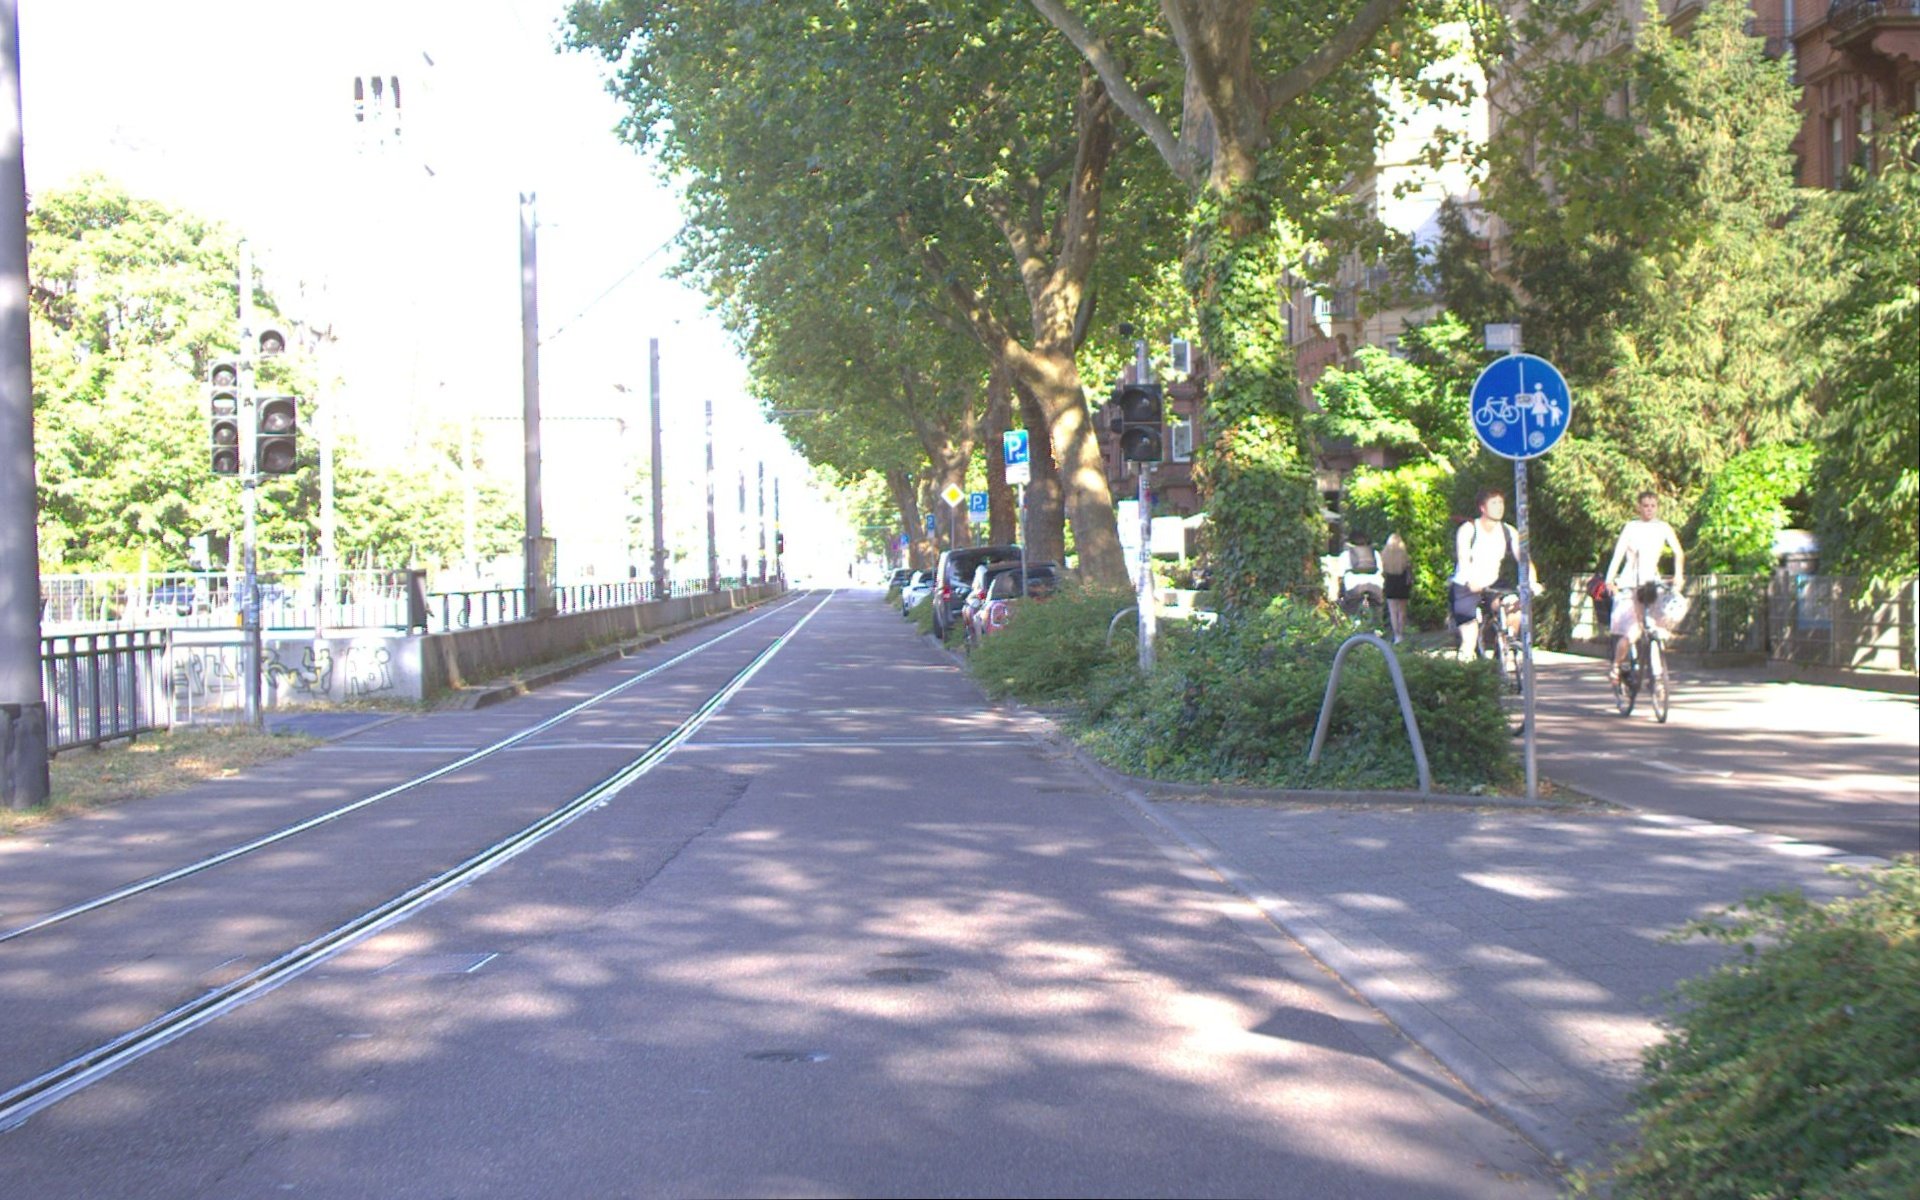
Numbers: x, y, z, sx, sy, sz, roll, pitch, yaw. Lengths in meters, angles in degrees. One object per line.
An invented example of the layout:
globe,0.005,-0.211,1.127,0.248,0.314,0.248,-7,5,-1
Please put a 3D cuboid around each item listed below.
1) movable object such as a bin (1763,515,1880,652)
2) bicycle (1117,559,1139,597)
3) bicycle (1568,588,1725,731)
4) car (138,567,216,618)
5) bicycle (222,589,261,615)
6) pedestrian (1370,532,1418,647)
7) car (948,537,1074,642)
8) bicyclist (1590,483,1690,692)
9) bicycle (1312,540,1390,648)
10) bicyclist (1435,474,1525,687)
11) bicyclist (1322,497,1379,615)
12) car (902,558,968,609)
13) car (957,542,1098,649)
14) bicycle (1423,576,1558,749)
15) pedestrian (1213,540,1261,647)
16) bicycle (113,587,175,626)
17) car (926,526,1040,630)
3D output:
movable object such as a bin,9.587,-0.189,38.297,0.906,1.459,1.084,-3,1,-3
bicycle,5.134,-0.678,105.248,0.475,1.139,1.896,-3,1,-2
bicycle,5.472,0.458,27.512,0.560,1.034,1.933,-3,2,-9
car,-25.472,-0.261,111.939,1.832,1.579,4.001,1,1,-4
bicycle,-26.178,0.066,125.289,1.265,0.902,0.539,1,1,-32
pedestrian,6.283,-0.155,49.753,0.530,1.622,0.618,-3,2,-1
car,0.768,-0.159,54.987,1.714,1.543,4.501,-3,0,-2
bicyclist,5.413,-0.106,27.401,0.542,1.620,0.644,-2,1,-8
bicycle,4.725,-0.095,41.658,0.560,1.174,2.227,-1,3,-3
bicyclist,4.036,-0.162,26.727,0.543,1.620,0.644,-1,3,-3
bicyclist,4.719,-0.535,41.577,0.543,1.375,0.644,-2,3,-3
car,-0.781,-0.498,103.531,1.802,1.472,4.647,-1,1,-2
car,0.930,-0.050,49.146,1.714,1.457,4.000,0,0,-3
bicycle,4.065,0.454,26.495,0.560,1.174,2.226,-1,3,-3
pedestrian,4.720,-0.117,58.570,0.688,1.779,0.644,-2,2,-3
bicycle,-25.845,0.210,108.919,1.808,1.174,0.562,1,0,1
car,0.433,-0.488,71.222,1.993,2.007,5.203,-2,1,-3
